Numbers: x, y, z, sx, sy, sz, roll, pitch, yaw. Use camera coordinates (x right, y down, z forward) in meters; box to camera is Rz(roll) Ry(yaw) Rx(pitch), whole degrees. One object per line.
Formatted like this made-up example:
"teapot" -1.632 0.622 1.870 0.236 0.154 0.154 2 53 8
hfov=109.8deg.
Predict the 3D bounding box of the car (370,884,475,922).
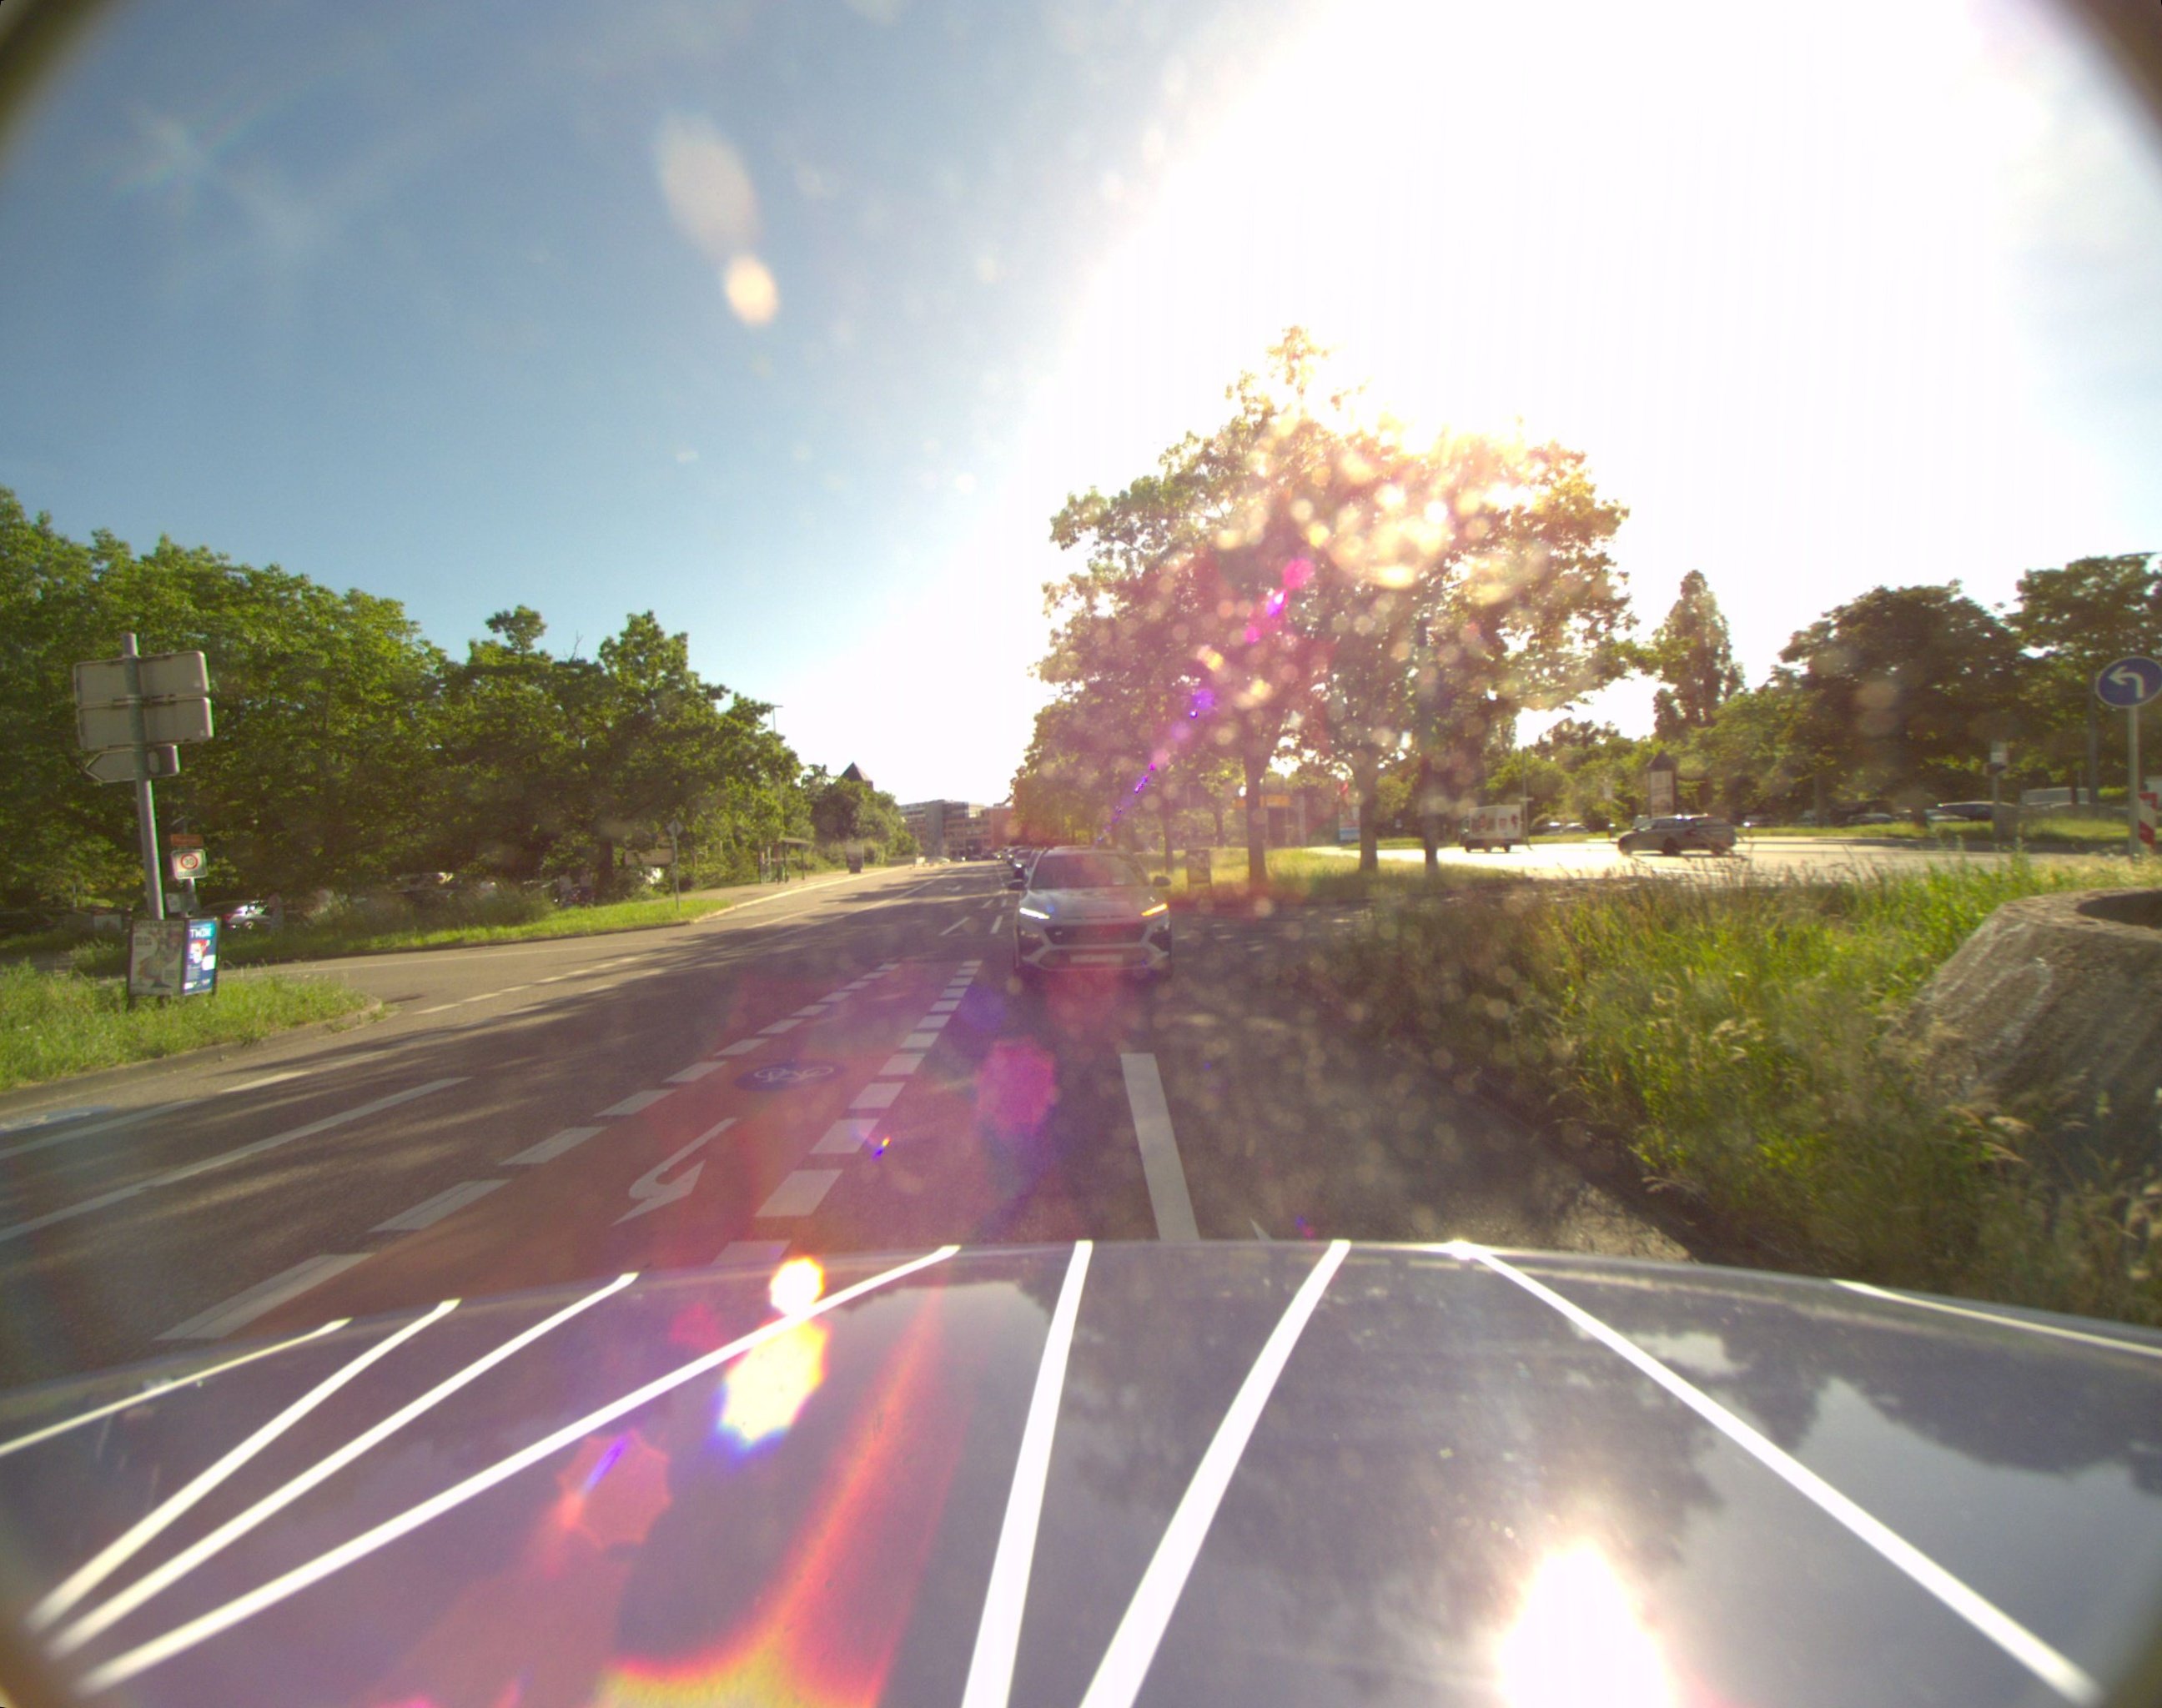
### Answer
"car" -36.285 2.668 42.033 1.757 1.739 4.777 -5 -1 -4

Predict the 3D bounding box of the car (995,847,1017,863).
"car" -6.929 0.059 70.521 1.782 1.397 3.998 -3 1 -4

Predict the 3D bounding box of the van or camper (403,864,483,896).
"van or camper" -49.373 1.946 58.992 2.459 2.146 5.321 -3 1 -12

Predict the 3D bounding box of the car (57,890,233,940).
"car" -32.931 2.104 26.834 3.589 1.308 1.621 -3 3 -12

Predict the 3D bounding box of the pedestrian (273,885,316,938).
"pedestrian" -25.408 1.835 24.554 0.599 1.611 0.566 -5 3 -12

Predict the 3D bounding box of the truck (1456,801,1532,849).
"truck" 22.765 -1.558 42.061 1.792 2.413 4.108 -3 1 -1

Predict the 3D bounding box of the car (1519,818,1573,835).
"car" 49.947 -2.924 81.712 2.003 1.456 4.545 -6 3 -36

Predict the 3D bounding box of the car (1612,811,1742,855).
"car" 22.260 -0.769 28.626 1.666 1.440 4.402 -3 1 5

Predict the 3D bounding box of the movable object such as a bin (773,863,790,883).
"movable object such as a bin" -16.590 1.036 42.076 0.729 1.024 0.578 -3 1 -7

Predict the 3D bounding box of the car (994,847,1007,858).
"car" -12.058 -0.201 113.956 1.830 1.465 3.997 -3 1 -6

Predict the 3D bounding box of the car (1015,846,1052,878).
"car" -2.441 0.383 39.740 1.678 1.499 3.947 -3 1 -2

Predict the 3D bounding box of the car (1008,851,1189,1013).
"car" 0.003 0.798 9.862 1.781 1.543 3.977 -3 1 -6

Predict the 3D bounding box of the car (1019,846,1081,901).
"car" -0.972 0.558 24.564 1.745 1.539 3.999 -3 1 -2

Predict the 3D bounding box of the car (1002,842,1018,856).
"car" -9.030 -0.660 96.930 1.745 1.539 4.001 -4 -2 -2

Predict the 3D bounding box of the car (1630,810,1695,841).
"car" 43.490 -2.145 56.806 5.007 2.002 2.234 -4 1 -32

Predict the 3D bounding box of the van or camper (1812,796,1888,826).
"van or camper" 60.095 -3.342 59.506 1.997 2.084 4.404 -3 1 10

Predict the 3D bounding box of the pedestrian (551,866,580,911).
"pedestrian" -19.469 1.300 28.706 0.624 1.625 0.551 -3 2 -6

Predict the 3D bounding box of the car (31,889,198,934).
"car" -36.681 2.145 28.947 3.652 1.268 1.621 -3 3 -12

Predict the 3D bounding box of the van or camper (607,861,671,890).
"van or camper" -33.720 1.623 58.170 2.459 1.902 5.322 -3 1 -11

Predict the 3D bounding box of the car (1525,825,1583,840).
"car" 39.527 -1.771 63.622 1.822 1.122 3.995 -3 1 -13

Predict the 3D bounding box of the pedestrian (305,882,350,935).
"pedestrian" -24.533 1.764 24.739 0.705 1.611 0.566 -5 3 -12

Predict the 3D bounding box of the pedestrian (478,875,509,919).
"pedestrian" -20.920 1.526 27.072 0.529 1.510 0.613 -3 2 -4

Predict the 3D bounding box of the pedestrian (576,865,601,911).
"pedestrian" -18.942 1.306 29.228 0.604 1.690 0.410 -3 2 -7
